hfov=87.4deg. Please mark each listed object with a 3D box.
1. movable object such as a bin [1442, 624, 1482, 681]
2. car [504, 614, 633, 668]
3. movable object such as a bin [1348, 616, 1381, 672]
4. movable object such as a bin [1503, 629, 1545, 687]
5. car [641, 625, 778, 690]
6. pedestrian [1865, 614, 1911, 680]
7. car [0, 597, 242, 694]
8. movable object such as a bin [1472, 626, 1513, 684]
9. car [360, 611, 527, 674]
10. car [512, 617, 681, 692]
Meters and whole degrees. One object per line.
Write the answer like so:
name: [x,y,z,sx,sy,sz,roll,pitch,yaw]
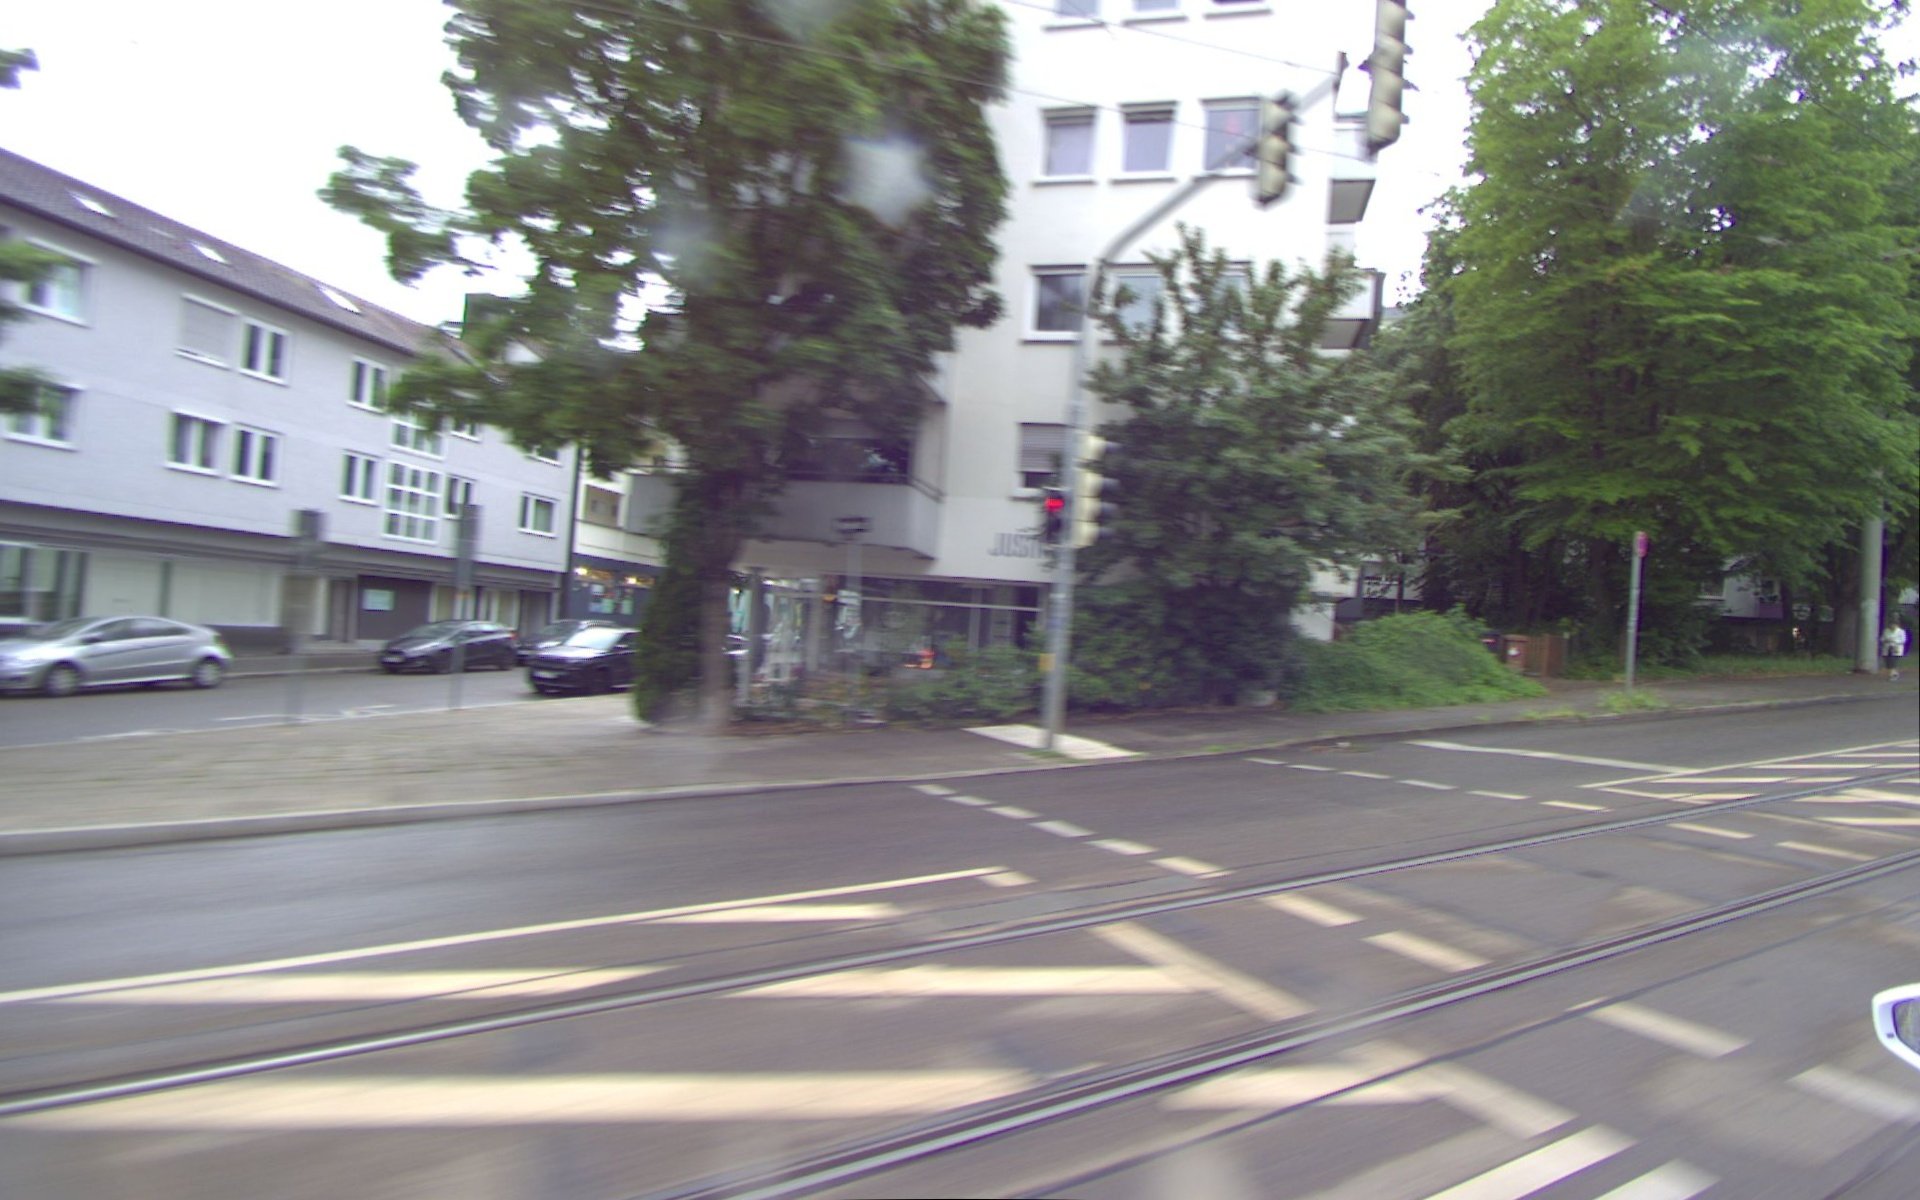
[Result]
movable object such as a bin: [11.612,1.212,23.247,0.654,1.249,0.627,4,-1,19]
car: [-13.077,1.393,33.855,1.854,1.550,4.002,5,-1,17]
movable object such as a bin: [9.605,1.045,23.865,0.614,1.249,0.627,4,-1,19]
movable object such as a bin: [12.851,1.315,22.911,0.654,1.249,0.627,4,-1,19]
car: [-7.460,1.710,30.472,1.960,1.616,4.677,5,-1,14]
pedestrian: [23.718,1.207,25.675,0.860,1.621,0.579,2,2,-34]
car: [-16.723,0.854,19.582,1.805,1.599,4.177,4,-1,14]
movable object such as a bin: [12.210,1.261,23.049,0.654,1.249,0.627,4,-1,19]
car: [-14.467,1.198,28.433,1.805,1.513,4.205,4,-2,14]
car: [-8.911,1.334,25.002,1.960,1.538,4.003,5,-1,14]
